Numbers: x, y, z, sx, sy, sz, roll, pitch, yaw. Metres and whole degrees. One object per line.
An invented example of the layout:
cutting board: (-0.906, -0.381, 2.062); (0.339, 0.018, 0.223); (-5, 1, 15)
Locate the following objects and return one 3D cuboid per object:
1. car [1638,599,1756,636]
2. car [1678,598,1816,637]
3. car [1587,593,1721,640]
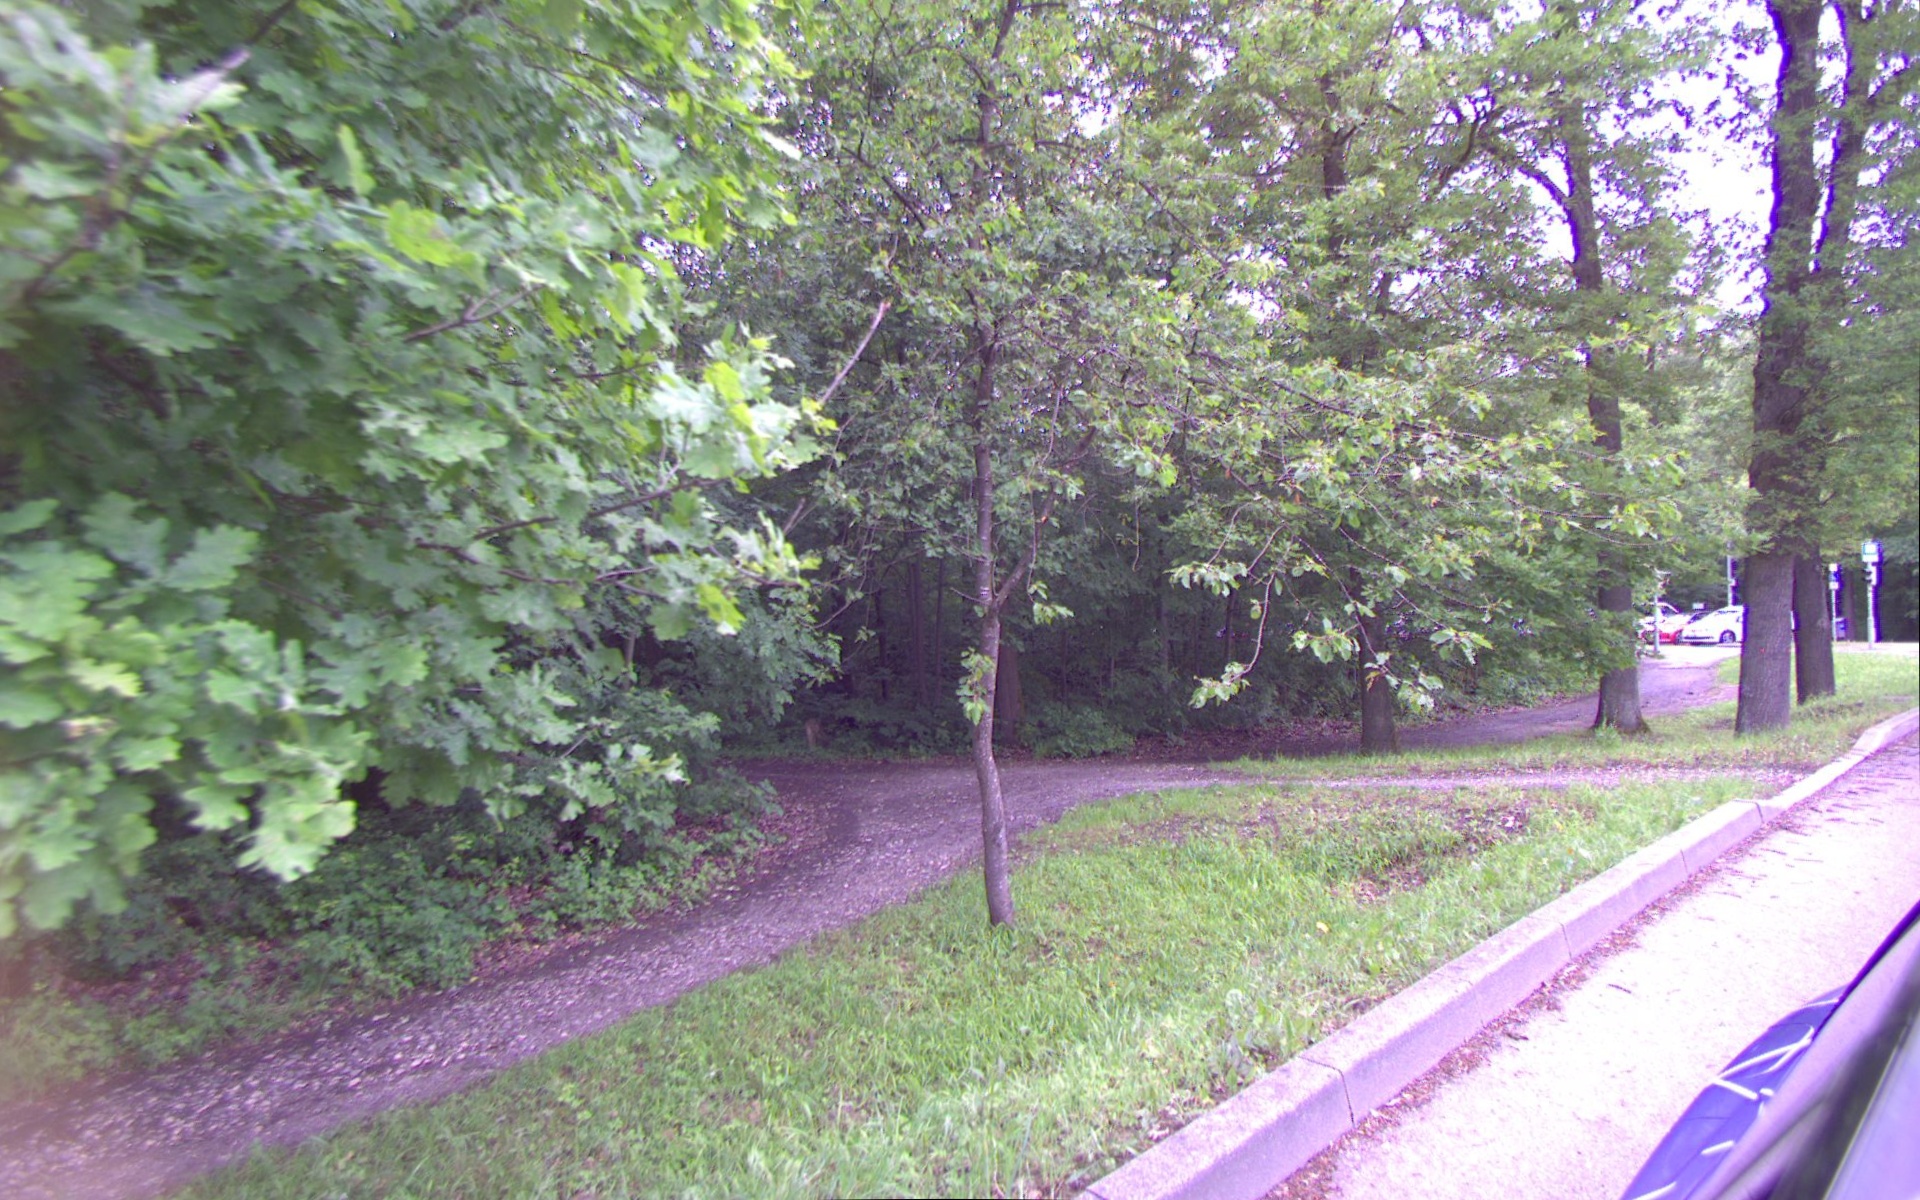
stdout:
car: (32.812, 0.802, 45.120); (3.919, 1.572, 1.896); (-1, -2, -6)
car: (33.072, 0.755, 42.595); (4.332, 1.572, 2.001); (-1, -2, -6)
car: (32.633, 0.801, 47.653); (5.076, 1.983, 2.065); (-2, -2, -10)
